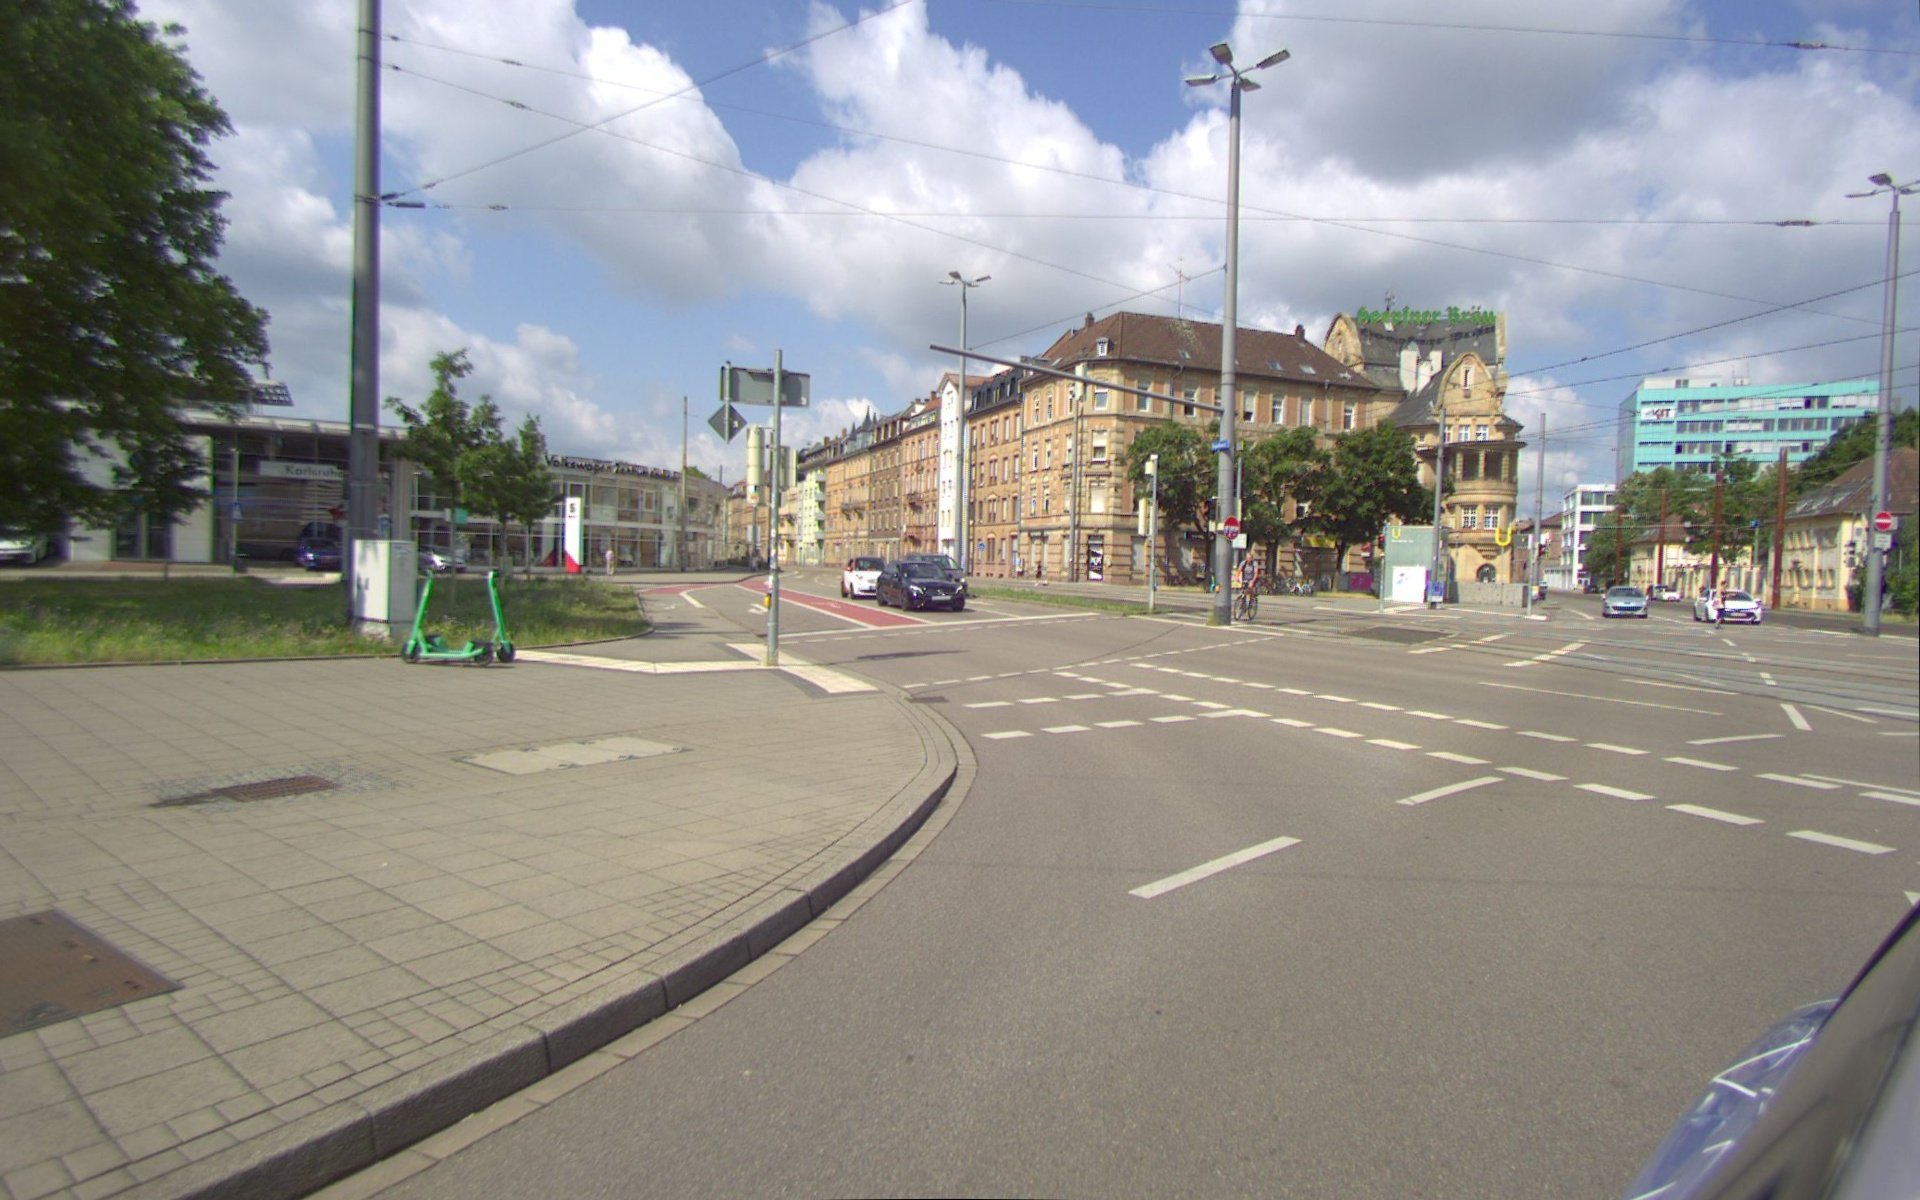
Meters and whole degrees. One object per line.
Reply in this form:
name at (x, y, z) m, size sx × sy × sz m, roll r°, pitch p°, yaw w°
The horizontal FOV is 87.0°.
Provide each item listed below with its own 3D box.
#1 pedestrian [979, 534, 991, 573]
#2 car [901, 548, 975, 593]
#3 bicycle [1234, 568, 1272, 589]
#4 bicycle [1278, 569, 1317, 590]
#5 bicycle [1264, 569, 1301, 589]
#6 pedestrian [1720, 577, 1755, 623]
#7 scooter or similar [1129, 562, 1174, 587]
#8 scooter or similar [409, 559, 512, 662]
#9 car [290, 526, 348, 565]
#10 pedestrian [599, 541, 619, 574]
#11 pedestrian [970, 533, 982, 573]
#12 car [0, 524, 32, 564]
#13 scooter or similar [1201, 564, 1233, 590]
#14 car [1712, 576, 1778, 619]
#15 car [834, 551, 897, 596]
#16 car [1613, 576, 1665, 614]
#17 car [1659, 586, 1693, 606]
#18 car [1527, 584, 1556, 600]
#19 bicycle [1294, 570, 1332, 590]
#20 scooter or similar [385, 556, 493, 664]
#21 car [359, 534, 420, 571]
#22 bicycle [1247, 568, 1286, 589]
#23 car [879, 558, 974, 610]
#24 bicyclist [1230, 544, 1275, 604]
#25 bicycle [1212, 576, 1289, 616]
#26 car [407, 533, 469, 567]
pedestrian at (2.033, -3.779, 82.285) m, size 0.712 × 3.114 × 0.889 m, roll 3°, pitch 0°, yaw -11°
car at (-0.911, -1.161, 38.918) m, size 1.958 × 1.593 × 3.746 m, roll 1°, pitch 2°, yaw -15°
bicycle at (17.889, -1.329, 61.863) m, size 0.745 × 1.180 × 2.692 m, roll 1°, pitch 2°, yaw -19°
bicycle at (20.917, -1.278, 62.802) m, size 0.745 × 1.180 × 2.692 m, roll 1°, pitch 2°, yaw -19°
bicycle at (19.900, -1.306, 62.500) m, size 0.745 × 1.180 × 2.692 m, roll 1°, pitch 2°, yaw -18°
pedestrian at (26.313, -0.007, 34.258) m, size 0.727 × 1.534 × 0.546 m, roll 1°, pitch 2°, yaw -12°
scooter or similar at (11.484, -1.543, 60.894) m, size 1.156 × 1.403 × 2.809 m, roll 2°, pitch 1°, yaw -27°
scooter or similar at (-6.186, 0.127, 12.560) m, size 1.043 × 1.211 × 0.382 m, roll 3°, pitch 0°, yaw -9°
car at (-32.771, -2.764, 51.706) m, size 1.965 × 1.860 × 3.996 m, roll -1°, pitch 3°, yaw -40°
pedestrian at (-21.488, -2.601, 61.935) m, size 0.701 × 2.038 × 0.859 m, roll 3°, pitch 2°, yaw 40°
pedestrian at (1.326, -3.826, 82.166) m, size 0.654 × 3.159 × 0.889 m, roll 3°, pitch 0°, yaw -11°
car at (-42.918, -2.539, 45.422) m, size 1.762 × 1.703 × 3.991 m, roll 0°, pitch 3°, yaw -44°
scooter or similar at (15.596, -1.403, 61.484) m, size 0.862 × 1.500 × 2.020 m, roll 1°, pitch 3°, yaw -21°
car at (32.534, -0.060, 42.056) m, size 1.945 × 1.616 × 4.447 m, roll 3°, pitch 1°, yaw 36°
car at (-3.524, -0.978, 37.309) m, size 1.655 × 1.488 × 3.665 m, roll 3°, pitch 1°, yaw -15°
car at (31.560, -0.223, 46.993) m, size 1.828 × 1.616 × 3.948 m, roll 3°, pitch 1°, yaw 36°
car at (78.864, -0.454, 111.524) m, size 1.977 × 2.039 × 3.971 m, roll 3°, pitch 1°, yaw 21°
car at (56.383, -0.741, 98.144) m, size 1.849 × 1.401 × 3.968 m, roll 3°, pitch 1°, yaw 23°
bicycle at (22.007, -1.272, 63.167) m, size 0.745 × 1.180 × 2.692 m, roll 1°, pitch 2°, yaw -18°
scooter or similar at (-6.197, 0.114, 12.059) m, size 1.045 × 1.211 × 0.381 m, roll 3°, pitch 0°, yaw 1°
car at (-29.958, -2.482, 53.127) m, size 1.965 × 1.747 × 3.994 m, roll 2°, pitch 1°, yaw -41°
bicycle at (18.822, -1.346, 62.239) m, size 0.745 × 1.180 × 2.692 m, roll 5°, pitch 1°, yaw -19°
car at (-1.079, -0.523, 30.236) m, size 1.831 × 1.393 × 3.950 m, roll 1°, pitch 2°, yaw -17°
bicyclist at (8.599, -0.757, 29.756) m, size 1.125 × 1.695 × 0.616 m, roll 2°, pitch 0°, yaw -31°
bicycle at (8.565, -0.112, 29.808) m, size 2.153 × 1.083 × 0.879 m, roll 2°, pitch 0°, yaw -29°
car at (-28.960, -2.783, 56.109) m, size 1.903 × 1.704 × 3.990 m, roll 2°, pitch 1°, yaw -45°
